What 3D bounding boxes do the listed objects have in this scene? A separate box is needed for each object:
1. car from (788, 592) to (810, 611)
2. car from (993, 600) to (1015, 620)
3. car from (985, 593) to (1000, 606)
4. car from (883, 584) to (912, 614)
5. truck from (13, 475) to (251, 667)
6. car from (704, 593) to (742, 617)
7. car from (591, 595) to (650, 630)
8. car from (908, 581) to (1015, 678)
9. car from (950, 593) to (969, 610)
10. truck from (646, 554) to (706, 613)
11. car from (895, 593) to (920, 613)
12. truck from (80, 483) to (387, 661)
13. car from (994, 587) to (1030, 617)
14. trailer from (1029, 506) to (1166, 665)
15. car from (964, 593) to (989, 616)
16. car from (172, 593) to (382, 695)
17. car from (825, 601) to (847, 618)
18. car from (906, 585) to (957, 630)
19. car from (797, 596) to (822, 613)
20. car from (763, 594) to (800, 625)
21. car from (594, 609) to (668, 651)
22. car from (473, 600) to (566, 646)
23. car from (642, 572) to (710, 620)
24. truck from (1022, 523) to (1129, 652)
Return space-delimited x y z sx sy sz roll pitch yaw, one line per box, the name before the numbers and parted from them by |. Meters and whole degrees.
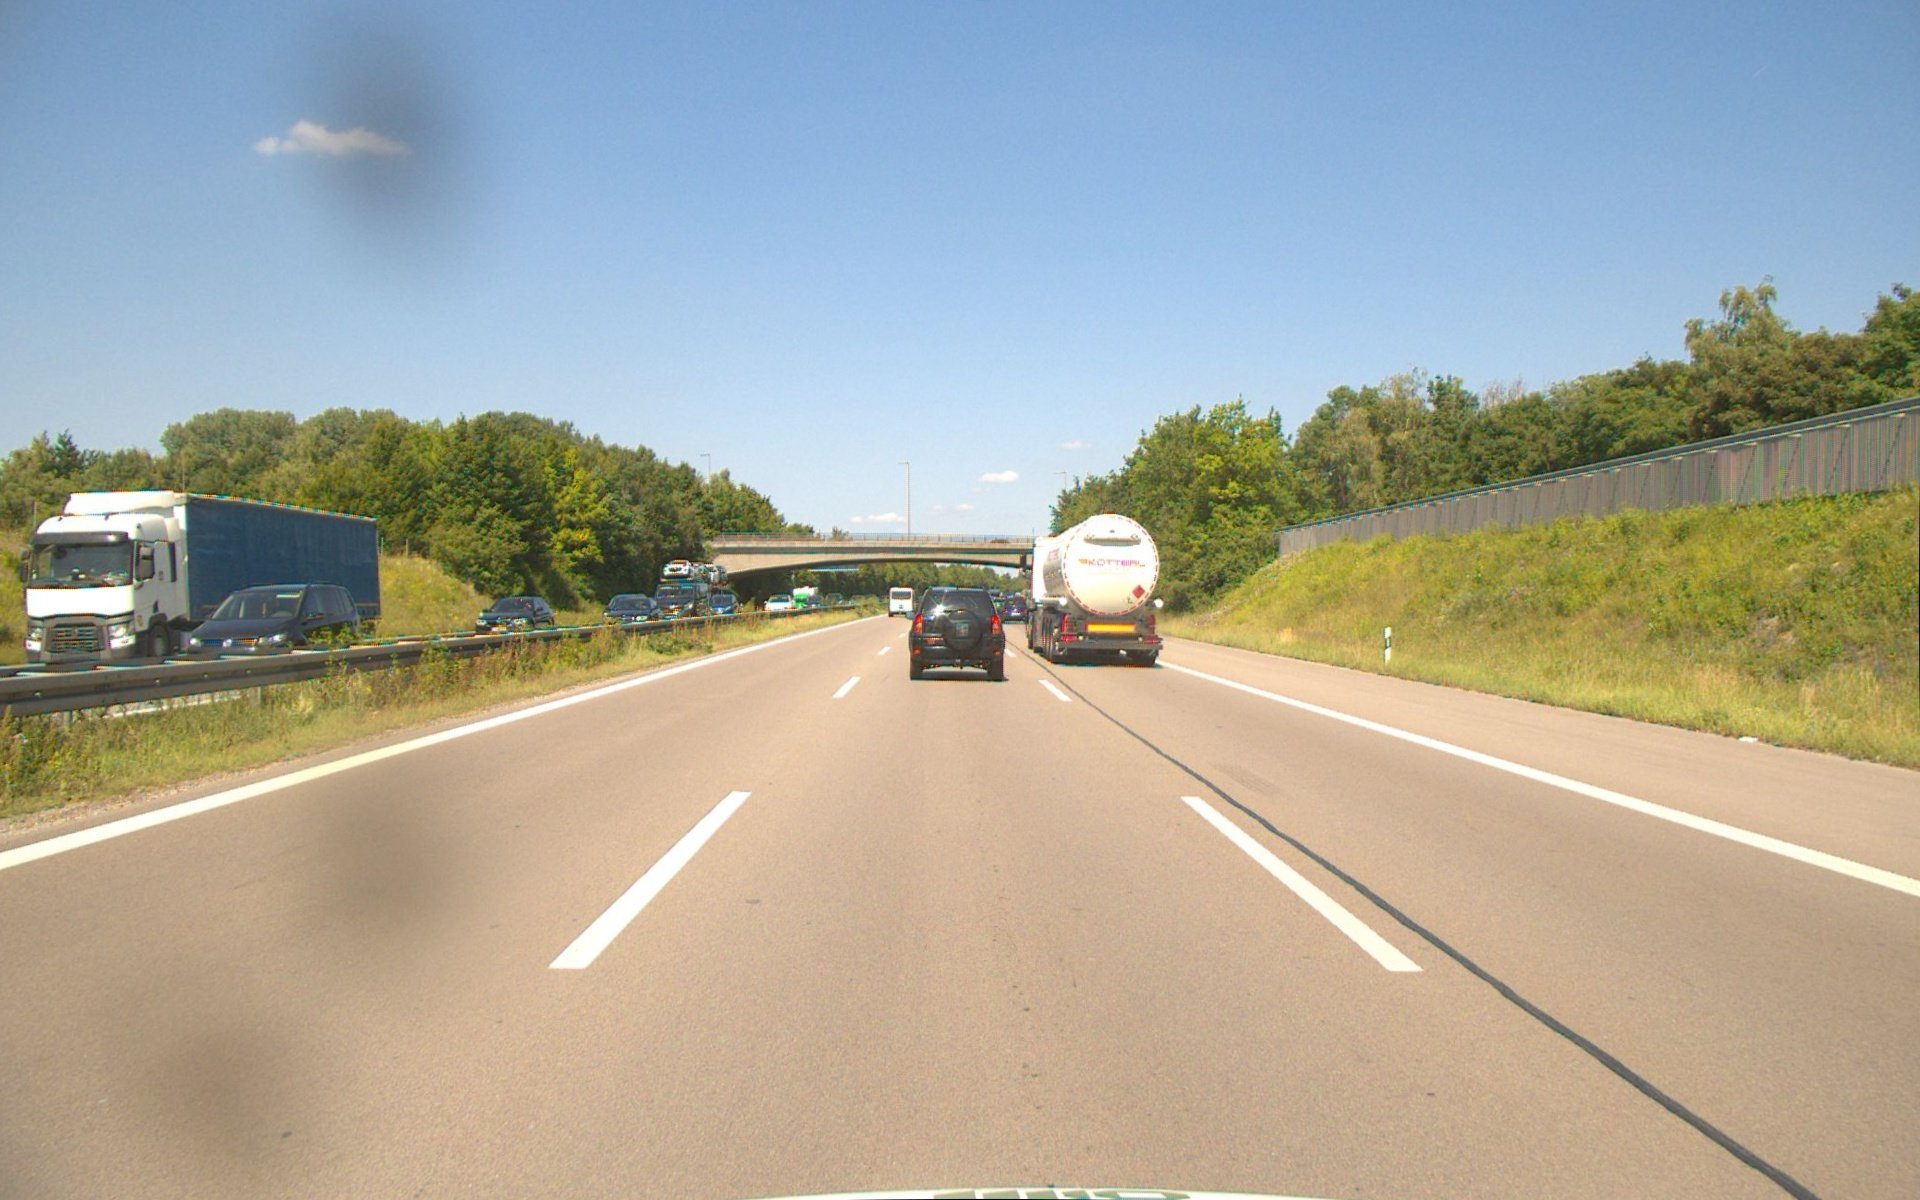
car | -15.727 0.150 162.190 1.777 1.840 4.381 0 0 -1
car | 4.132 0.905 156.268 1.952 1.811 4.261 0 0 1
car | 4.395 -0.056 223.075 1.775 1.777 3.999 0 0 -1
car | -4.416 -0.062 117.818 1.953 2.049 4.948 -1 0 -2
truck | -19.572 -0.647 39.523 2.618 4.149 6.074 -2 0 -1
car | -16.191 0.325 113.203 1.953 1.642 4.580 0 0 0
car | -16.544 0.596 80.763 1.924 1.669 4.894 0 0 -1
car | -0.003 0.527 31.100 1.868 1.694 3.999 0 0 -1
car | -0.087 0.139 173.955 1.953 1.780 4.204 0 0 0
truck | -20.422 -1.152 119.273 3.175 4.121 7.392 -1 0 -2
car | -4.327 0.275 136.520 1.953 1.579 3.999 0 -1 0
truck | -19.722 -0.690 46.367 2.618 4.149 13.955 -2 0 -1
car | 3.078 0.125 98.570 1.953 1.713 3.999 0 -1 0
trailer | 3.264 -0.324 41.883 2.594 3.449 11.152 1 0 1
car | 1.224 0.373 121.953 1.804 1.640 4.000 0 -1 1
car | -11.770 0.699 28.866 1.821 1.628 4.719 0 0 -2
car | -11.771 0.917 157.211 1.812 1.601 4.422 0 -1 0
car | -1.186 0.308 67.468 1.953 1.736 4.334 -1 0 -2
car | -12.684 0.336 139.489 1.681 1.414 4.000 0 0 0
car | -11.841 0.654 109.711 1.953 2.049 4.913 0 -1 0
car | -12.252 1.108 61.914 1.836 1.464 5.017 0 0 -1
car | -15.331 0.767 57.831 1.953 1.536 5.206 0 0 -1
car | -12.231 -0.185 71.635 2.047 1.979 5.688 0 0 -1
truck | 3.257 -0.334 48.128 2.584 3.434 6.487 1 0 0
